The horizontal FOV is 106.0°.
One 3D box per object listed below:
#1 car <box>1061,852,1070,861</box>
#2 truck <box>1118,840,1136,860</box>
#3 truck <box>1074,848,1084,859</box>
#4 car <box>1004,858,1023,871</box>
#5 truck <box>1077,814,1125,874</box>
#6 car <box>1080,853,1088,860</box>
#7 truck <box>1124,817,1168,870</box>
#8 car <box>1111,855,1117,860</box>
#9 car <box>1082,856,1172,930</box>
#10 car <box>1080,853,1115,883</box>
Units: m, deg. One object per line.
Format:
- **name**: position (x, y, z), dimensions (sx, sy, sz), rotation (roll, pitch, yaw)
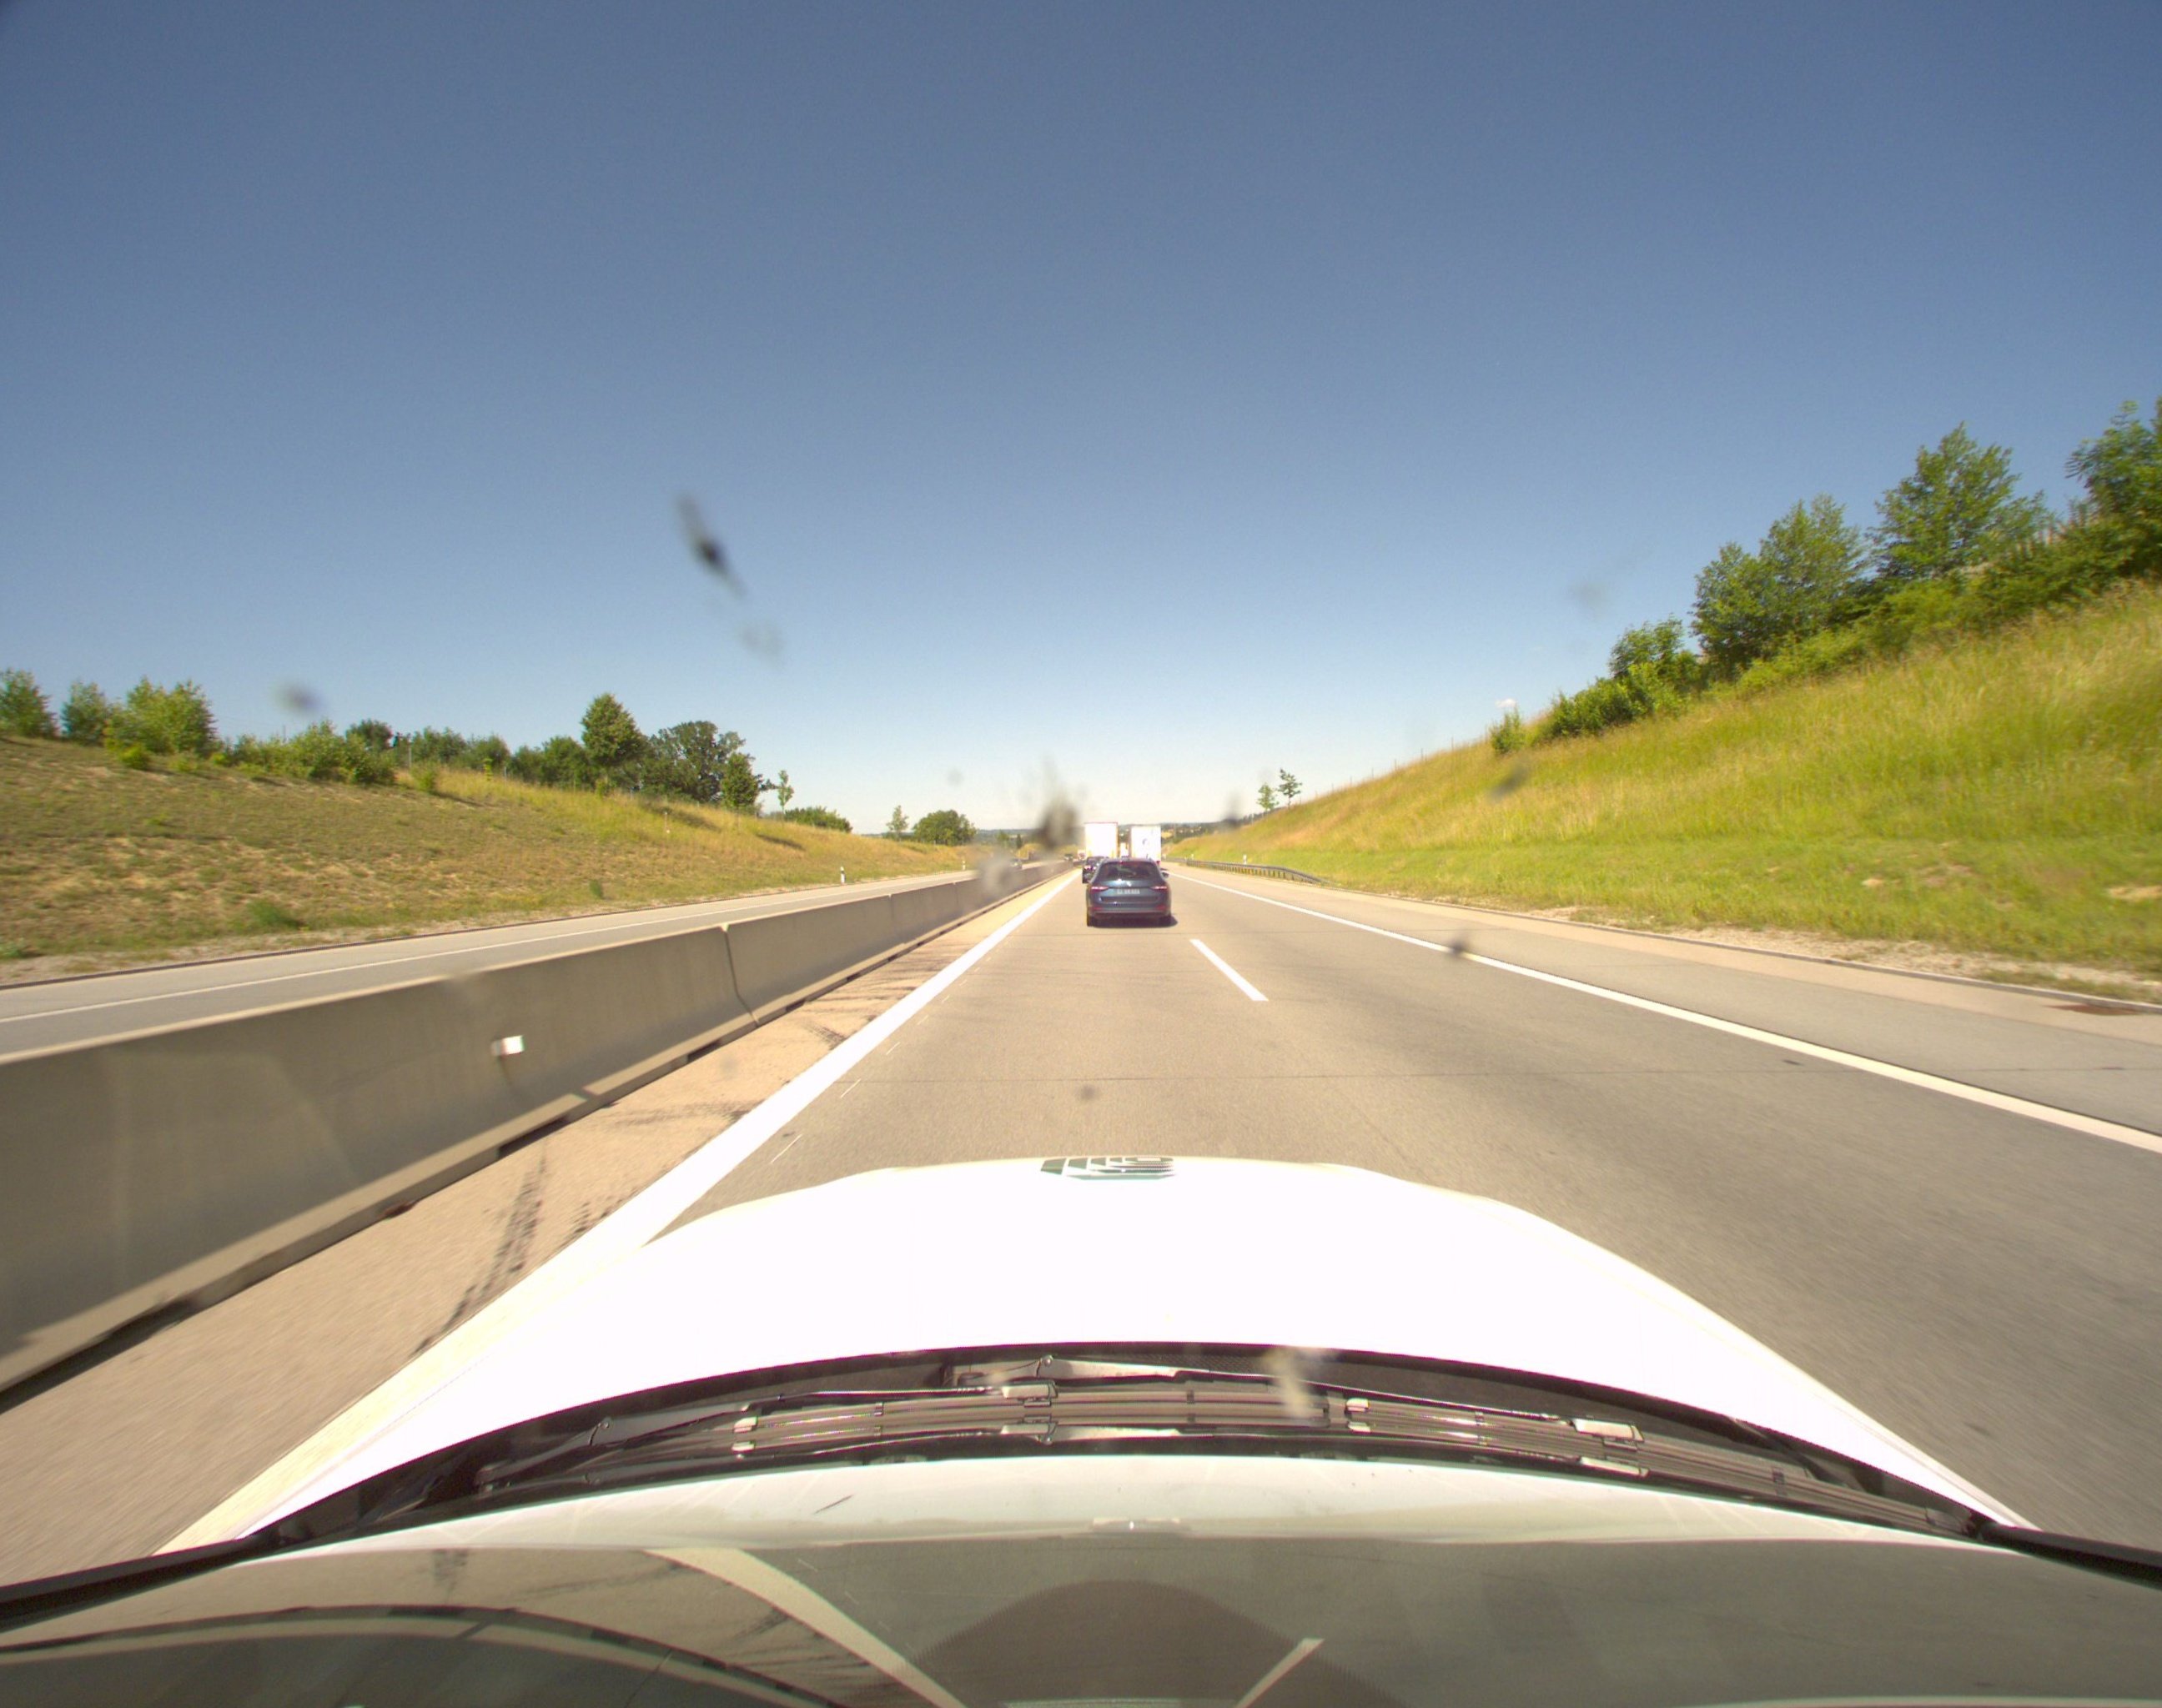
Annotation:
- **car**: position (-3.807, 0.633, 205.020), dimensions (1.986, 2.013, 4.972), rotation (0, 0, 2)
- **truck**: position (10.664, -0.911, 188.074), dimensions (3.588, 4.381, 11.246), rotation (-3, 0, 4)
- **truck**: position (-0.673, -0.164, 250.067), dimensions (2.764, 3.021, 6.795), rotation (-1, 0, 2)
- **car**: position (-8.140, 1.255, 98.223), dimensions (1.796, 1.471, 4.529), rotation (-1, 0, 2)
- **truck**: position (1.837, -0.801, 68.325), dimensions (3.196, 4.381, 11.247), rotation (-3, 0, 4)
- **car**: position (0.772, 0.573, 194.974), dimensions (1.924, 1.732, 4.888), rotation (0, 0, 2)
- **truck**: position (6.092, -0.936, 76.868), dimensions (3.588, 4.381, 11.246), rotation (-3, 0, 4)
- **car**: position (9.001, 0.901, 223.052), dimensions (1.693, 1.441, 4.003), rotation (-1, 0, 3)
- **car**: position (0.933, 0.775, 18.060), dimensions (1.771, 1.441, 3.789), rotation (-1, 0, 0)
- **car**: position (0.879, 0.716, 44.118), dimensions (1.694, 1.441, 4.000), rotation (-3, 0, 0)
